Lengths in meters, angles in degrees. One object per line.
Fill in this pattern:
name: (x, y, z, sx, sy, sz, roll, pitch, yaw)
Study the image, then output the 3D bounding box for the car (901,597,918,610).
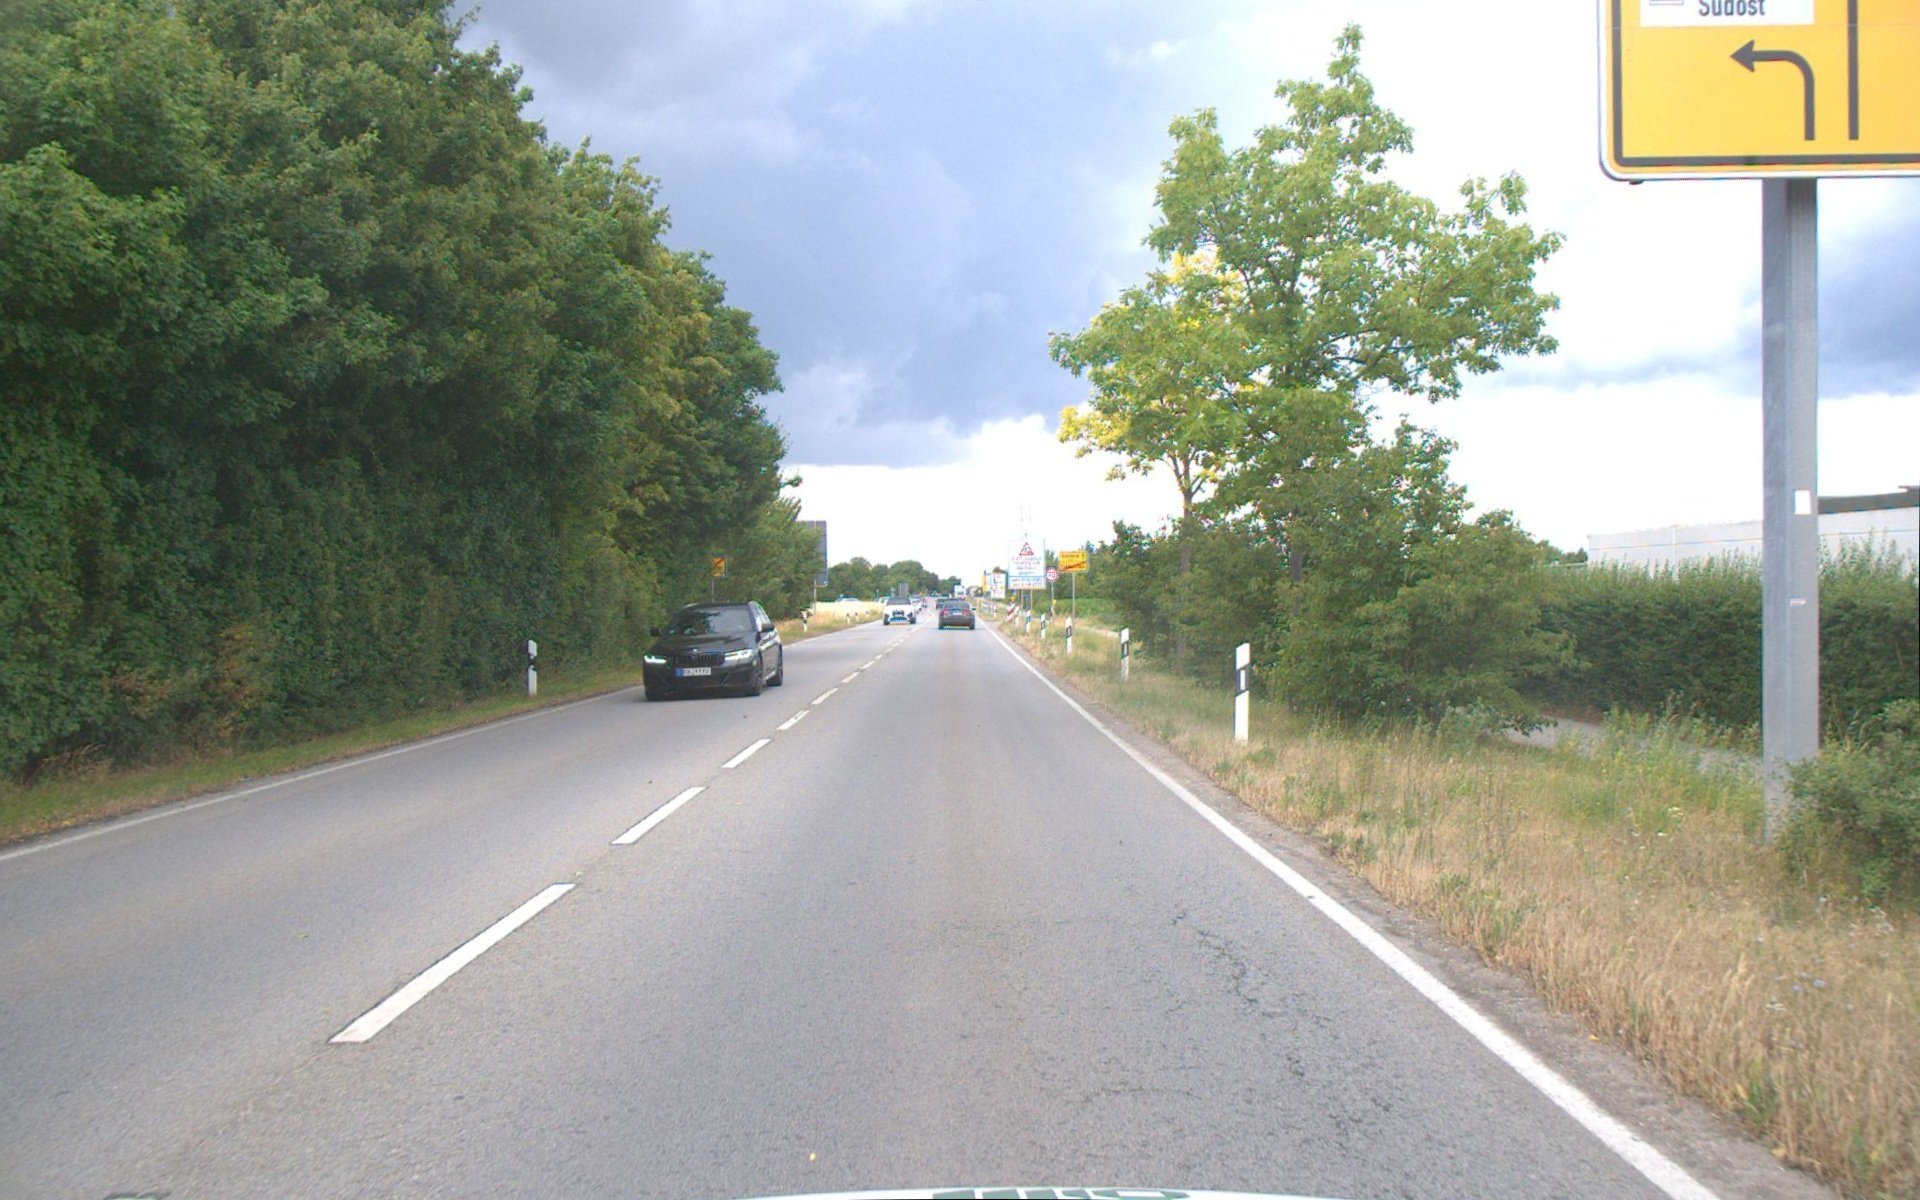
car: (-5.415, 0.356, 177.058, 1.693, 1.387, 3.949, -1, 0, 0)

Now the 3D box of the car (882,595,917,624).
car: (-3.731, 0.570, 102.622, 1.953, 1.713, 4.809, -1, 0, 0)

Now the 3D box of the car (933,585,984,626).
car: (-0.101, 0.288, 83.204, 2.324, 1.913, 4.475, -2, 0, -2)

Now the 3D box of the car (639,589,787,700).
car: (-4.000, 0.677, 27.507, 1.901, 1.614, 4.554, -2, 0, -2)
